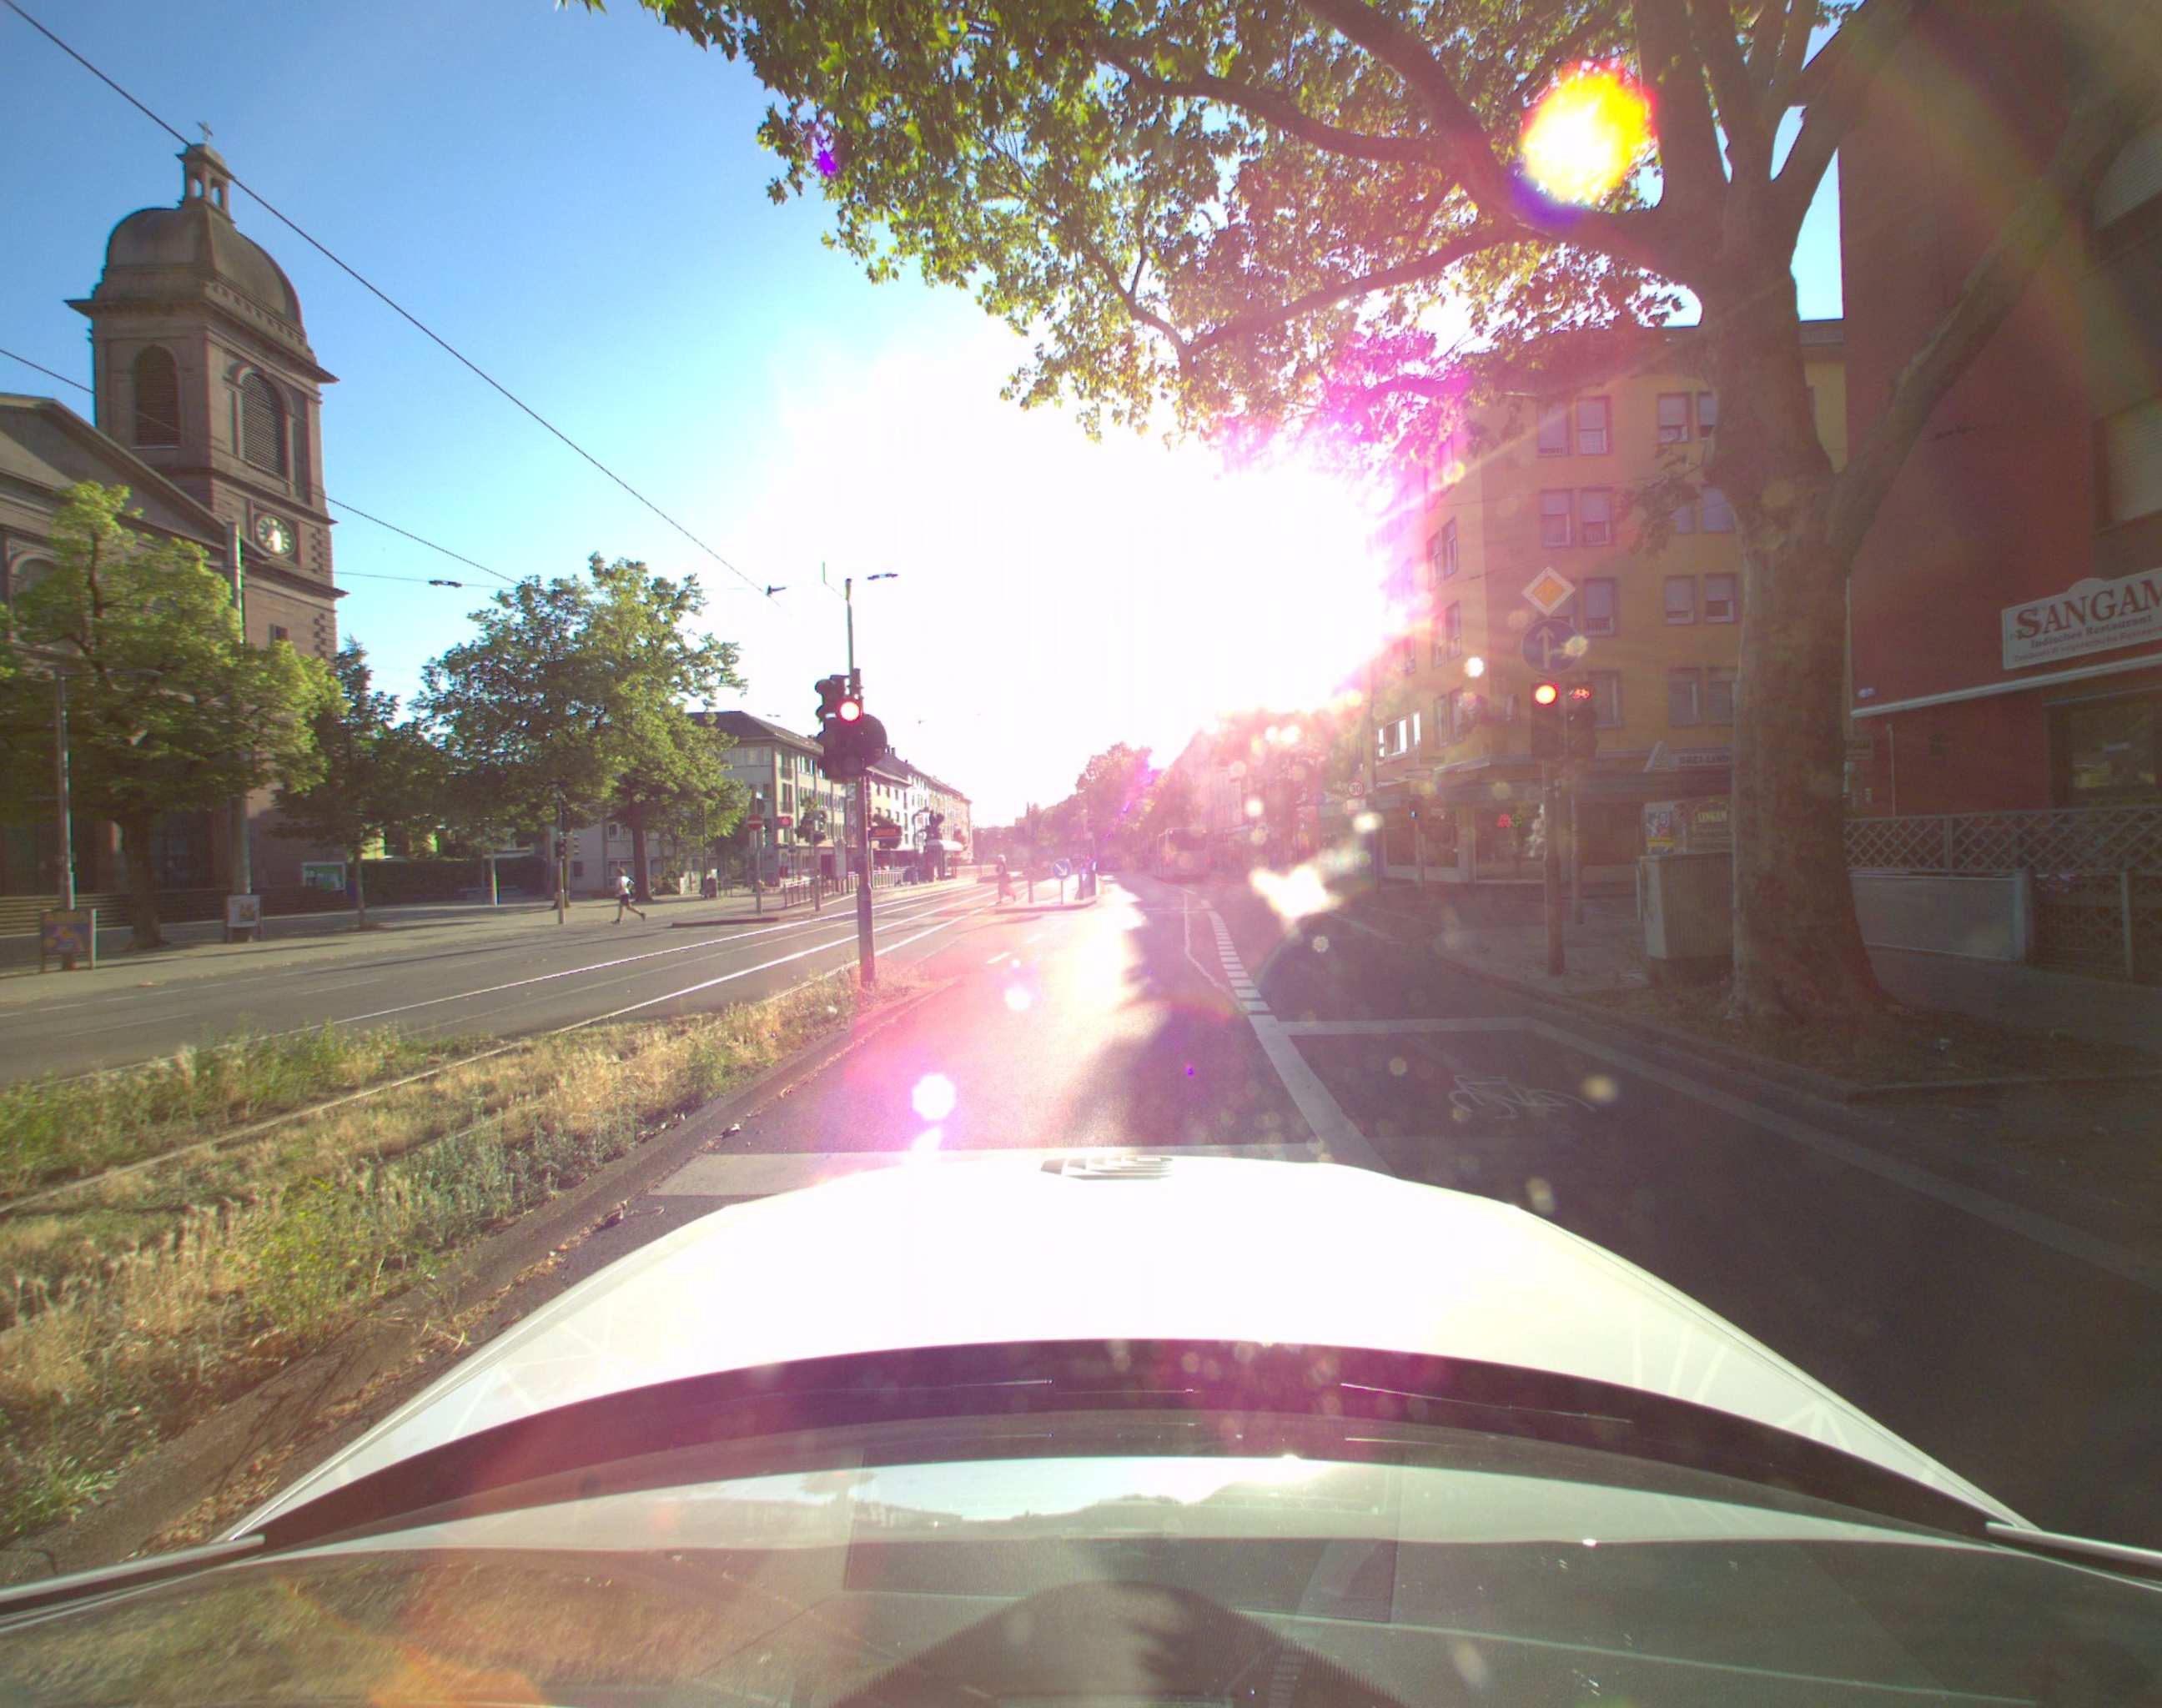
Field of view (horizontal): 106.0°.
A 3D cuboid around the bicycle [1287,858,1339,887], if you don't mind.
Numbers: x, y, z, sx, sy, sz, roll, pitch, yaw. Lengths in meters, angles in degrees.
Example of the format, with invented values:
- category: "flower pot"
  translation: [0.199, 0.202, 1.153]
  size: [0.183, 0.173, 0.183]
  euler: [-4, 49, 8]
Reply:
- category: "bicycle"
  translation: [8.897, 0.702, 31.245]
  size: [1.766, 1.021, 0.694]
  euler: [-4, -1, 1]

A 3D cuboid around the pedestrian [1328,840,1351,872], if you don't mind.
- category: "pedestrian"
  translation: [16.390, 0.117, 51.708]
  size: [0.995, 2.013, 0.918]
  euler: [-2, 0, -36]

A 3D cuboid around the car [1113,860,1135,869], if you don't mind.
- category: "car"
  translation: [8.341, 2.054, 158.735]
  size: [3.911, 1.699, 1.817]
  euler: [-2, 0, -27]

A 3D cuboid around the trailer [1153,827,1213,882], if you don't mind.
- category: "trailer"
  translation: [6.104, 0.055, 49.992]
  size: [2.801, 3.110, 8.797]
  euler: [0, 0, 2]

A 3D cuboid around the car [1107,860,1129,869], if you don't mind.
- category: "car"
  translation: [7.416, 2.135, 161.361]
  size: [3.911, 1.699, 1.817]
  euler: [-2, 0, -27]

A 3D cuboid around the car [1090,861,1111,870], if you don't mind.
- category: "car"
  translation: [4.045, 2.313, 166.517]
  size: [3.911, 1.596, 1.676]
  euler: [-2, 0, -27]

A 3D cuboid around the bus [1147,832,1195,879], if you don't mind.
- category: "bus"
  translation: [6.387, 0.118, 58.939]
  size: [2.801, 3.101, 9.097]
  euler: [0, 0, 2]

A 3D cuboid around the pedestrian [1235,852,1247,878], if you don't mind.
- category: "pedestrian"
  translation: [10.202, 0.695, 52.053]
  size: [0.674, 1.628, 0.656]
  euler: [0, -1, 2]

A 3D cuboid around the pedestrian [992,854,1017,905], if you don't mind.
- category: "pedestrian"
  translation: [-2.735, 0.896, 29.305]
  size: [0.677, 1.770, 0.687]
  euler: [-4, 0, 2]

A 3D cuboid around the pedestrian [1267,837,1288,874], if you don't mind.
- category: "pedestrian"
  translation: [10.836, 0.078, 44.882]
  size: [0.950, 2.014, 0.917]
  euler: [0, -1, 0]

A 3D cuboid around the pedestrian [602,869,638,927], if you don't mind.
- category: "pedestrian"
  translation: [-14.654, 1.387, 25.910]
  size: [0.678, 1.770, 0.687]
  euler: [-2, 0, -1]
